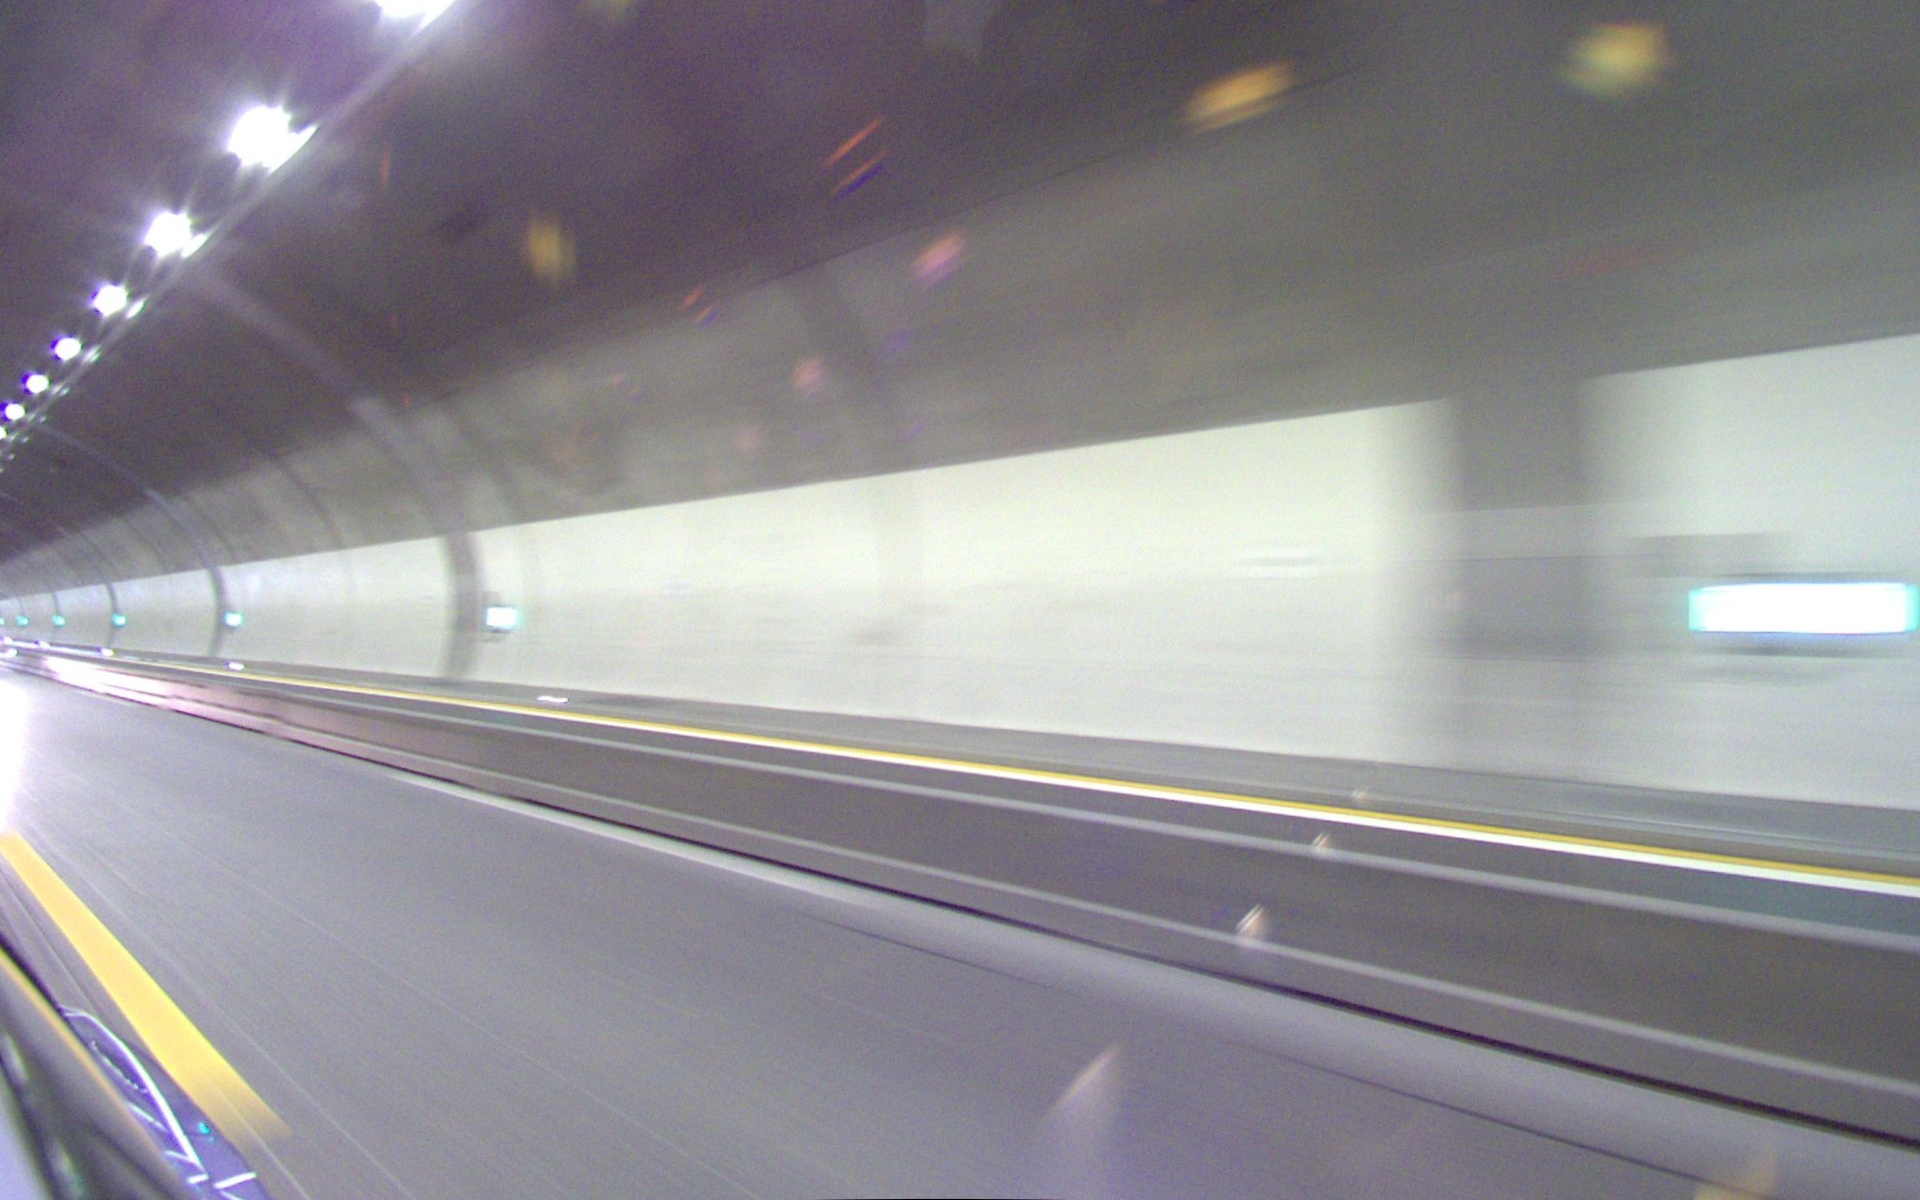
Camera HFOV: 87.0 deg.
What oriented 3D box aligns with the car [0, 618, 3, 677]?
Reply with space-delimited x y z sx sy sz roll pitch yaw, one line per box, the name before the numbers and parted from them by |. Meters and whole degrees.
car | -26.966 1.266 26.765 4.940 1.496 1.884 -2 -1 40
